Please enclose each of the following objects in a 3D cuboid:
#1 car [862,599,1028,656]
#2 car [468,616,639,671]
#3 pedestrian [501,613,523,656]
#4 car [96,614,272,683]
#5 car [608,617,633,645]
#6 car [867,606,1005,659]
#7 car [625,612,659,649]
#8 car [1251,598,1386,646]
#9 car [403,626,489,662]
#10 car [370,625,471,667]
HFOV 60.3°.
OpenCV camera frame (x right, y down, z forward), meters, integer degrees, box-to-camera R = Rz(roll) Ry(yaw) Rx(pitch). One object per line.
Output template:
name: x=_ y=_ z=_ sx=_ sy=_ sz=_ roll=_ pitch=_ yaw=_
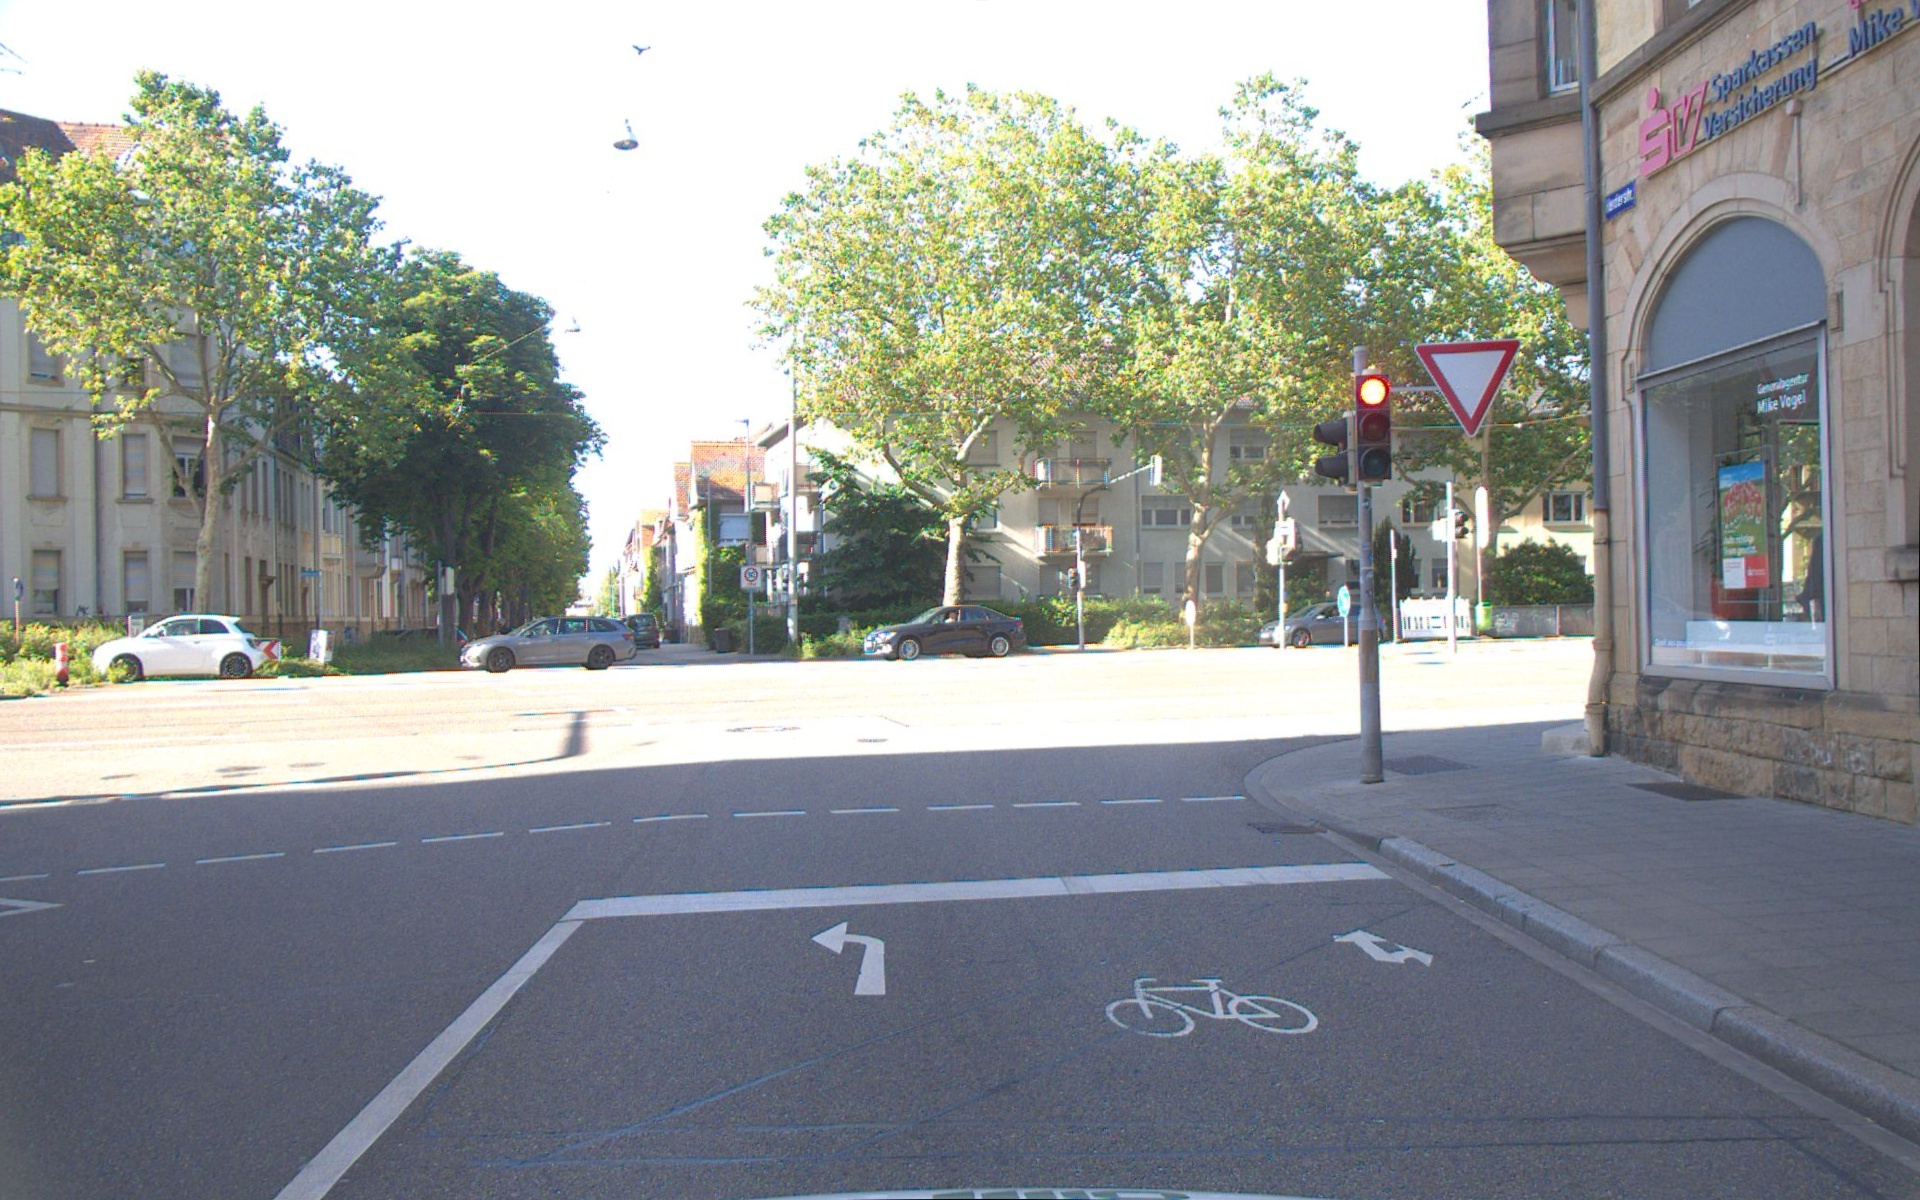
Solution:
car: x=-0.410 y=0.732 z=44.894 sx=4.207 sy=1.425 sz=1.635 roll=-1 pitch=0 yaw=-22
car: x=-10.949 y=1.157 z=44.562 sx=4.323 sy=1.339 sz=1.636 roll=-1 pitch=0 yaw=-21
pedestrian: x=-15.668 y=1.209 z=57.797 sx=0.692 sy=1.467 sz=0.487 roll=1 pitch=-1 yaw=-19
car: x=-18.023 y=1.103 z=38.565 sx=3.579 sy=1.483 sz=1.494 roll=-1 pitch=0 yaw=-21
car: x=-26.229 y=2.388 z=127.708 sx=1.742 sy=1.952 sz=3.523 roll=-3 pitch=0 yaw=-12
car: x=-0.720 y=0.936 z=48.599 sx=3.728 sy=1.425 sz=1.635 roll=-1 pitch=0 yaw=-22
car: x=-18.130 y=1.726 z=94.234 sx=1.742 sy=1.952 sz=3.523 roll=-3 pitch=0 yaw=-12
car: x=11.397 y=0.680 z=52.609 sx=3.873 sy=1.425 sz=1.639 roll=-1 pitch=0 yaw=-15
car: x=-22.887 y=1.963 z=73.776 sx=3.572 sy=1.483 sz=1.650 roll=-1 pitch=0 yaw=-16
car: x=-20.444 y=1.739 z=62.805 sx=3.572 sy=1.483 sz=1.650 roll=-1 pitch=0 yaw=-16
